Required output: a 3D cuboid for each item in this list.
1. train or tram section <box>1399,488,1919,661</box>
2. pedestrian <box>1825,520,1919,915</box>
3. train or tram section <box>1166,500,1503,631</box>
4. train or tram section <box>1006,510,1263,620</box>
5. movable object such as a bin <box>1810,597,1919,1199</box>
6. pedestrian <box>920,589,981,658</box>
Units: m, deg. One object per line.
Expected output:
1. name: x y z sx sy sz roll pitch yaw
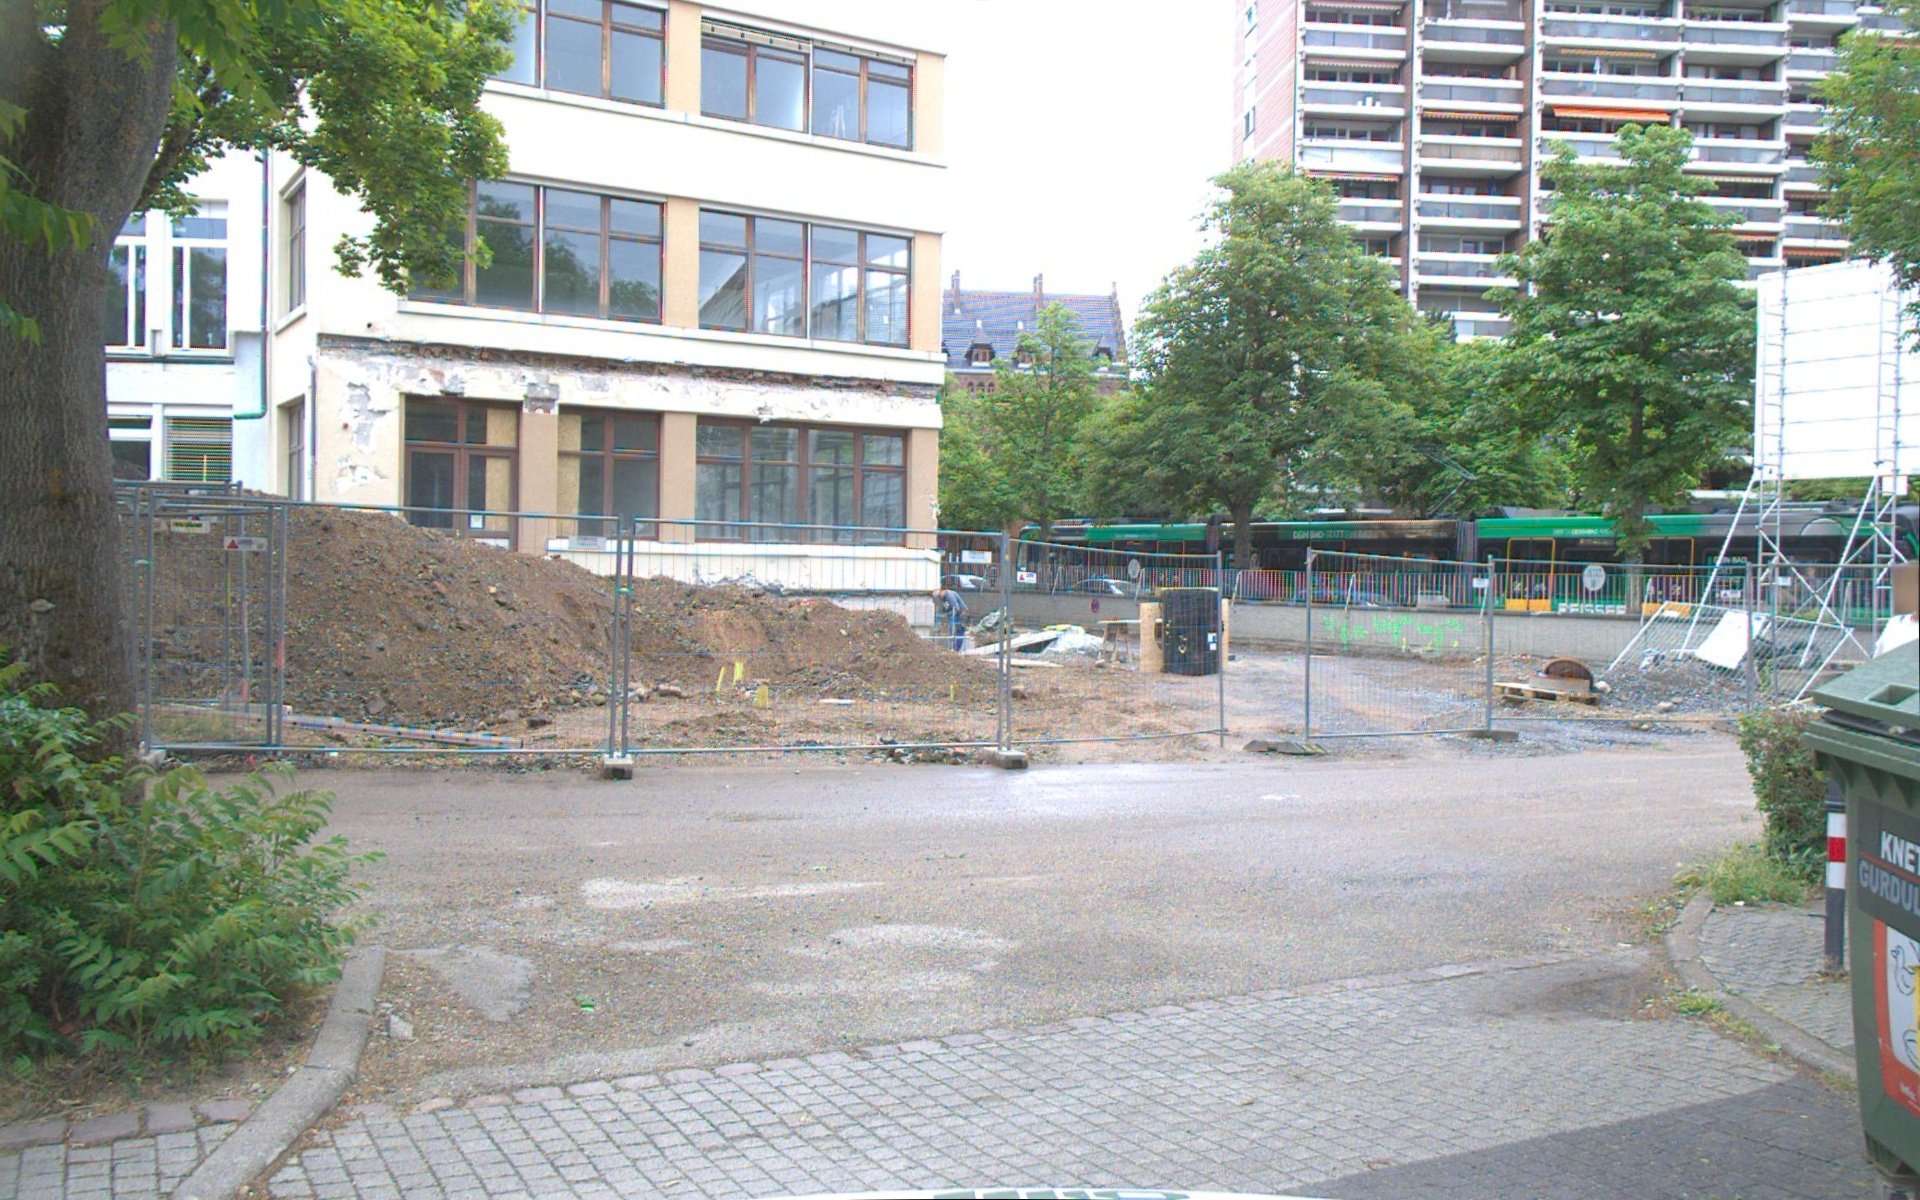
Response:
1. train or tram section: 17.526 -0.652 42.069 2.632 3.677 14.617 1 1 -31
2. pedestrian: 4.576 0.537 7.852 0.736 1.812 0.660 1 1 36
3. train or tram section: 11.391 -1.059 52.382 2.632 3.677 12.327 1 1 -31
4. train or tram section: 6.118 -1.272 61.302 2.632 3.677 12.327 1 1 -31
5. movable object such as a bin: 2.452 0.735 3.211 1.045 1.459 1.276 1 0 8
6. pedestrian: -0.207 0.512 36.090 0.972 1.463 0.919 1 0 -35
